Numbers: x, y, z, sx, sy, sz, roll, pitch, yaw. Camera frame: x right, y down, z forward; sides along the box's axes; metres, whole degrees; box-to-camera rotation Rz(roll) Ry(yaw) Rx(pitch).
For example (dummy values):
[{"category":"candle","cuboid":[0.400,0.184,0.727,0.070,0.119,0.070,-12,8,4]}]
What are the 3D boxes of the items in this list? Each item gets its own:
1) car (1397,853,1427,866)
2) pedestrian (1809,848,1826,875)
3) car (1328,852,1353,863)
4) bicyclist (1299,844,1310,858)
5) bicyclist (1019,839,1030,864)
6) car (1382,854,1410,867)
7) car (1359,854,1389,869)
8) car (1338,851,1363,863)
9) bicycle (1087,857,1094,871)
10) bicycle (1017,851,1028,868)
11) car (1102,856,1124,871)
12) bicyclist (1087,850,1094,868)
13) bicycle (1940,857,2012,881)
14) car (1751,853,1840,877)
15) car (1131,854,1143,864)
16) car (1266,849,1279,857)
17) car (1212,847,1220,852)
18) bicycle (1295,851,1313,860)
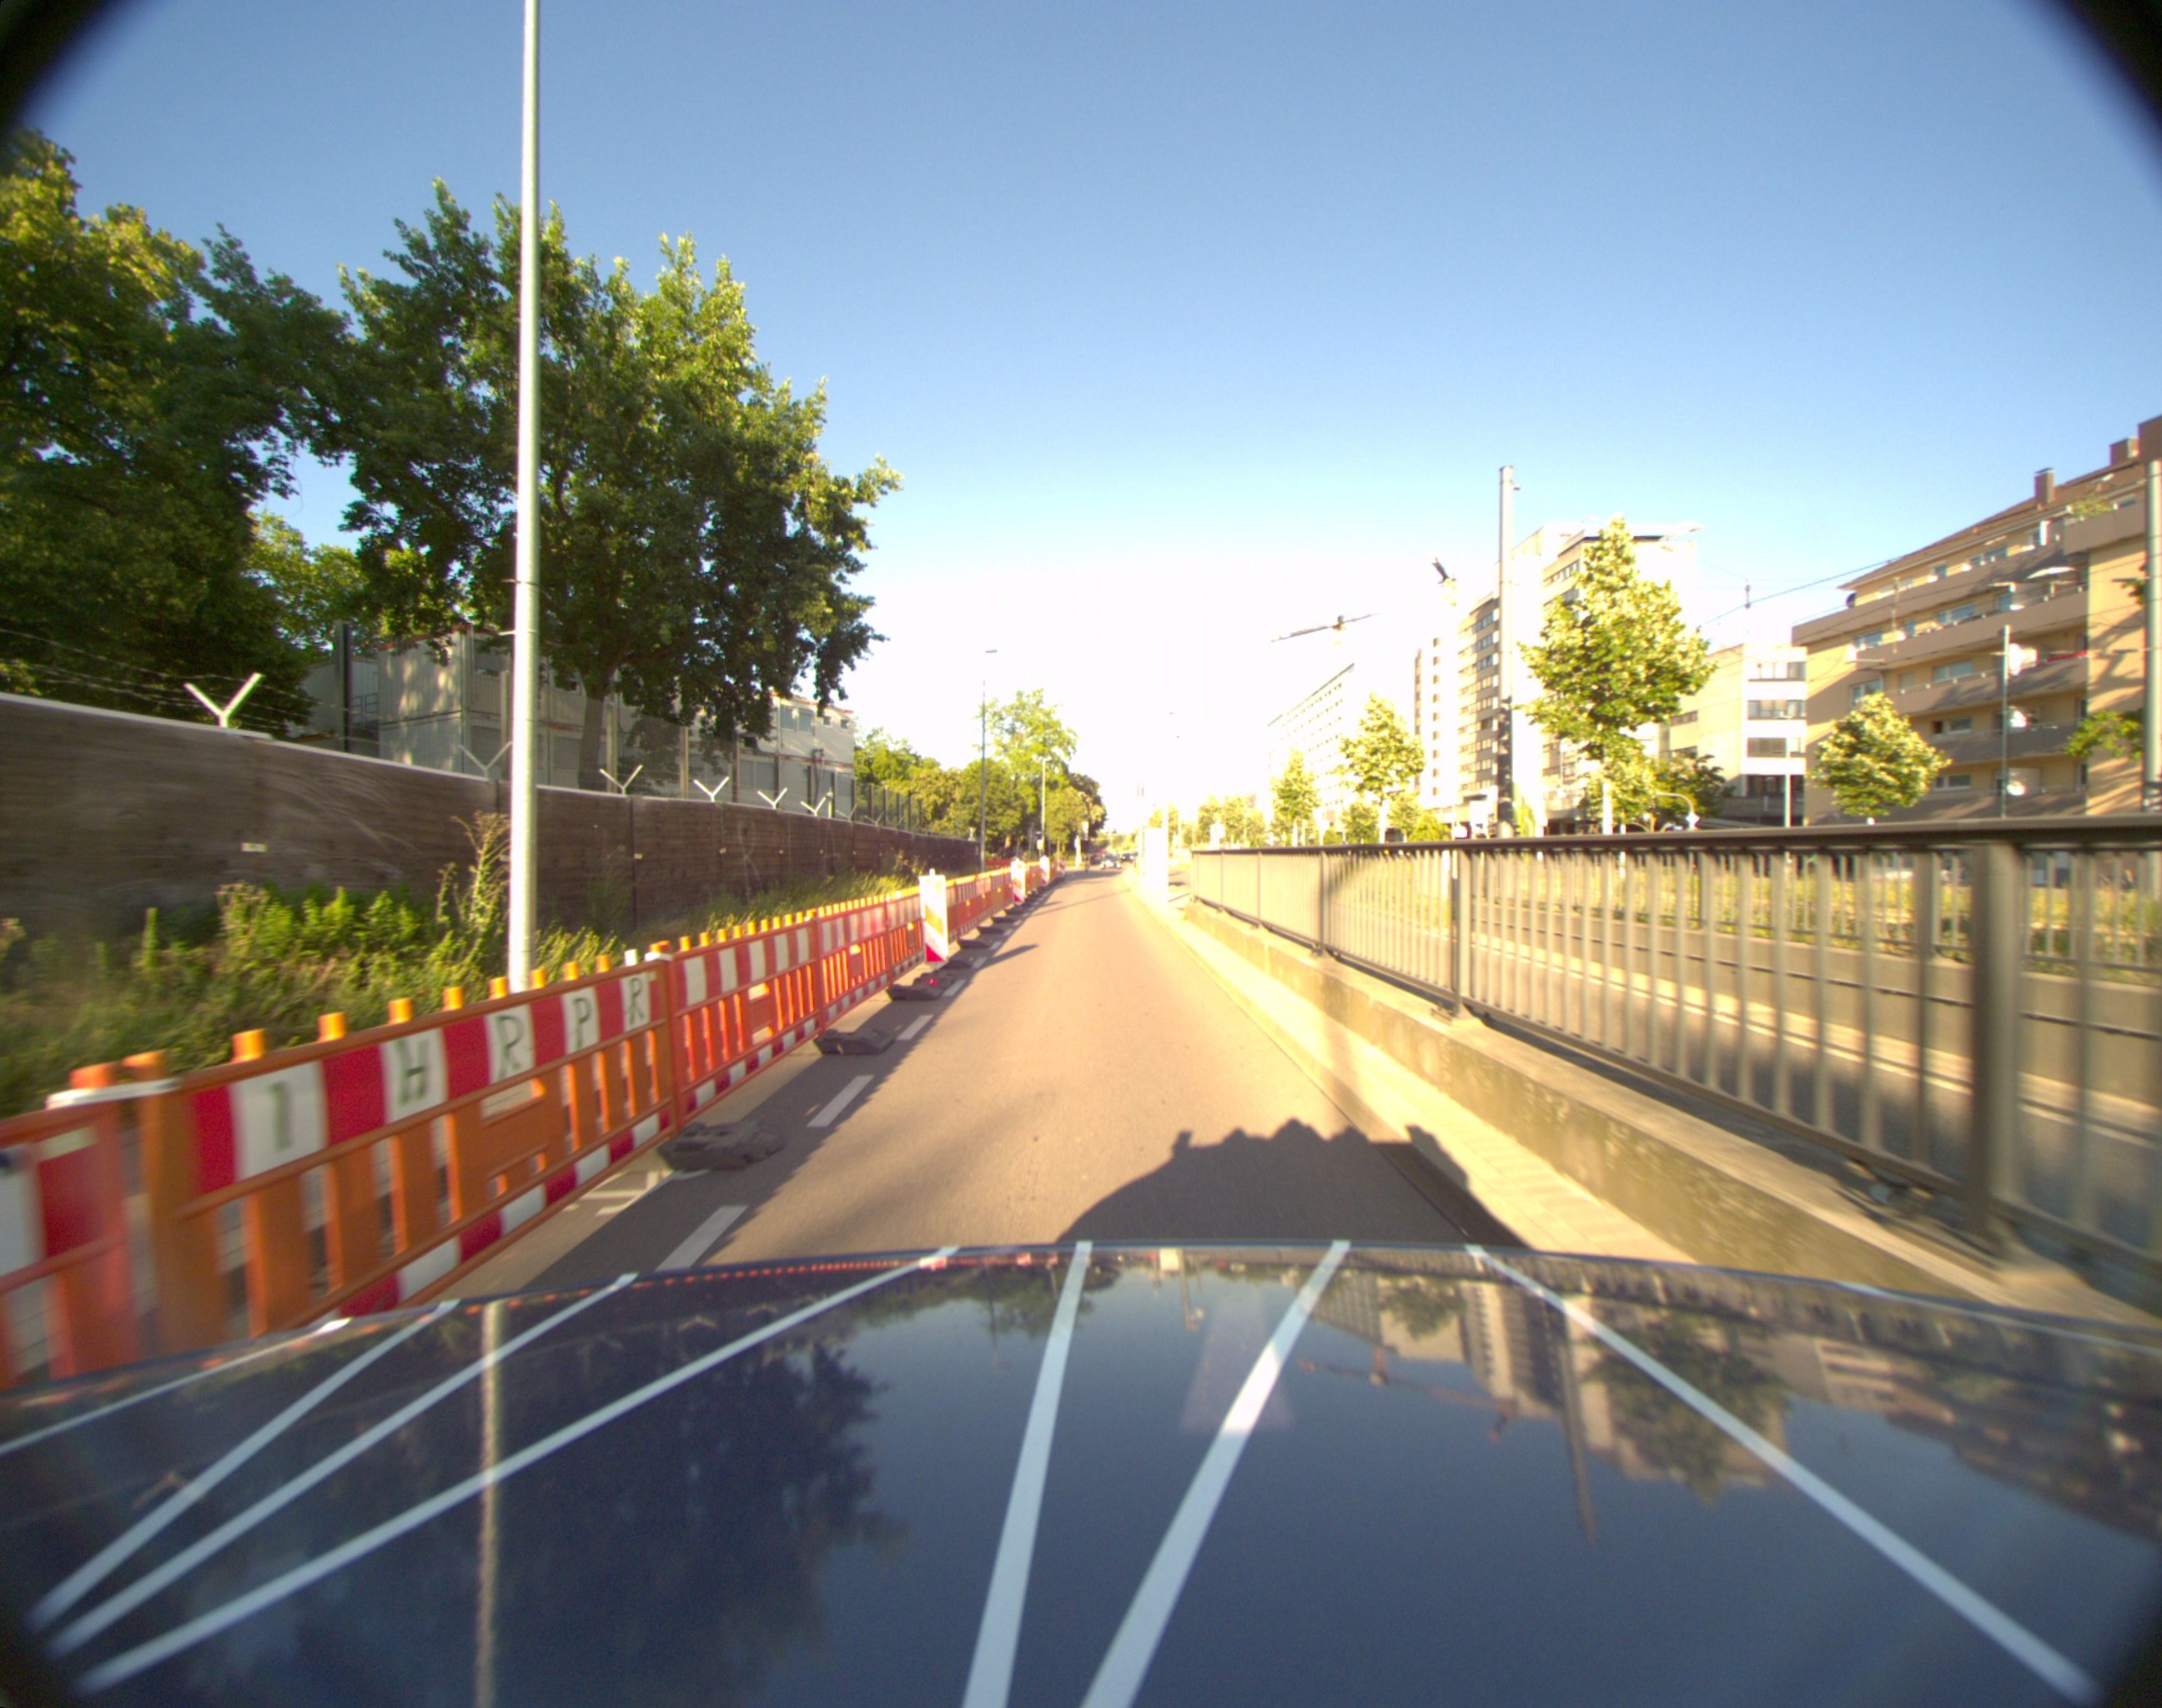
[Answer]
[{"category":"car","cuboid":[36.323,0.572,83.337,3.473,1.266,1.617,-3,1,-42]},{"category":"pedestrian","cuboid":[42.116,0.417,43.462,0.448,1.547,0.521,0,1,1]},{"category":"car","cuboid":[37.174,0.490,108.640,3.809,1.436,1.785,-3,1,-43]},{"category":"bicyclist","cuboid":[21.259,-0.279,72.163,0.737,1.386,0.715,-1,1,-23]},{"category":"bicyclist","cuboid":[-3.600,-0.157,48.666,0.585,1.605,0.903,0,1,2]},{"category":"car","cuboid":[37.181,0.730,89.595,3.473,1.394,1.617,-3,1,-42]},{"category":"car","cuboid":[37.006,0.898,95.972,4.204,1.681,1.617,-3,1,-39]},{"category":"car","cuboid":[37.479,0.391,105.547,3.800,1.436,1.617,-3,1,-41]},{"category":"bicycle","cuboid":[0.727,0.723,56.978,0.506,1.018,1.505,0,1,2]},{"category":"bicycle","cuboid":[-3.715,0.331,48.439,0.428,1.055,1.911,0,1,2]},{"category":"car","cuboid":[2.987,0.913,72.036,1.998,1.346,4.000,0,1,2]},{"category":"bicyclist","cuboid":[0.726,0.372,56.942,0.516,1.399,0.805,0,1,1]},{"category":"bicycle","cuboid":[43.739,0.706,37.201,0.532,1.130,2.586,0,0,2]},{"category":"car","cuboid":[46.132,0.679,49.103,3.997,1.487,1.847,0,0,1]},{"category":"car","cuboid":[7.914,0.690,107.013,1.591,1.449,4.000,0,0,2]},{"category":"car","cuboid":[38.110,-0.285,151.225,1.874,1.458,3.389,-2,1,2]},{"category":"car","cuboid":[43.354,-1.542,244.143,1.874,1.579,4.639,-2,1,2]},{"category":"bicycle","cuboid":[21.261,0.147,72.617,0.507,0.886,2.027,-1,1,-22]}]
